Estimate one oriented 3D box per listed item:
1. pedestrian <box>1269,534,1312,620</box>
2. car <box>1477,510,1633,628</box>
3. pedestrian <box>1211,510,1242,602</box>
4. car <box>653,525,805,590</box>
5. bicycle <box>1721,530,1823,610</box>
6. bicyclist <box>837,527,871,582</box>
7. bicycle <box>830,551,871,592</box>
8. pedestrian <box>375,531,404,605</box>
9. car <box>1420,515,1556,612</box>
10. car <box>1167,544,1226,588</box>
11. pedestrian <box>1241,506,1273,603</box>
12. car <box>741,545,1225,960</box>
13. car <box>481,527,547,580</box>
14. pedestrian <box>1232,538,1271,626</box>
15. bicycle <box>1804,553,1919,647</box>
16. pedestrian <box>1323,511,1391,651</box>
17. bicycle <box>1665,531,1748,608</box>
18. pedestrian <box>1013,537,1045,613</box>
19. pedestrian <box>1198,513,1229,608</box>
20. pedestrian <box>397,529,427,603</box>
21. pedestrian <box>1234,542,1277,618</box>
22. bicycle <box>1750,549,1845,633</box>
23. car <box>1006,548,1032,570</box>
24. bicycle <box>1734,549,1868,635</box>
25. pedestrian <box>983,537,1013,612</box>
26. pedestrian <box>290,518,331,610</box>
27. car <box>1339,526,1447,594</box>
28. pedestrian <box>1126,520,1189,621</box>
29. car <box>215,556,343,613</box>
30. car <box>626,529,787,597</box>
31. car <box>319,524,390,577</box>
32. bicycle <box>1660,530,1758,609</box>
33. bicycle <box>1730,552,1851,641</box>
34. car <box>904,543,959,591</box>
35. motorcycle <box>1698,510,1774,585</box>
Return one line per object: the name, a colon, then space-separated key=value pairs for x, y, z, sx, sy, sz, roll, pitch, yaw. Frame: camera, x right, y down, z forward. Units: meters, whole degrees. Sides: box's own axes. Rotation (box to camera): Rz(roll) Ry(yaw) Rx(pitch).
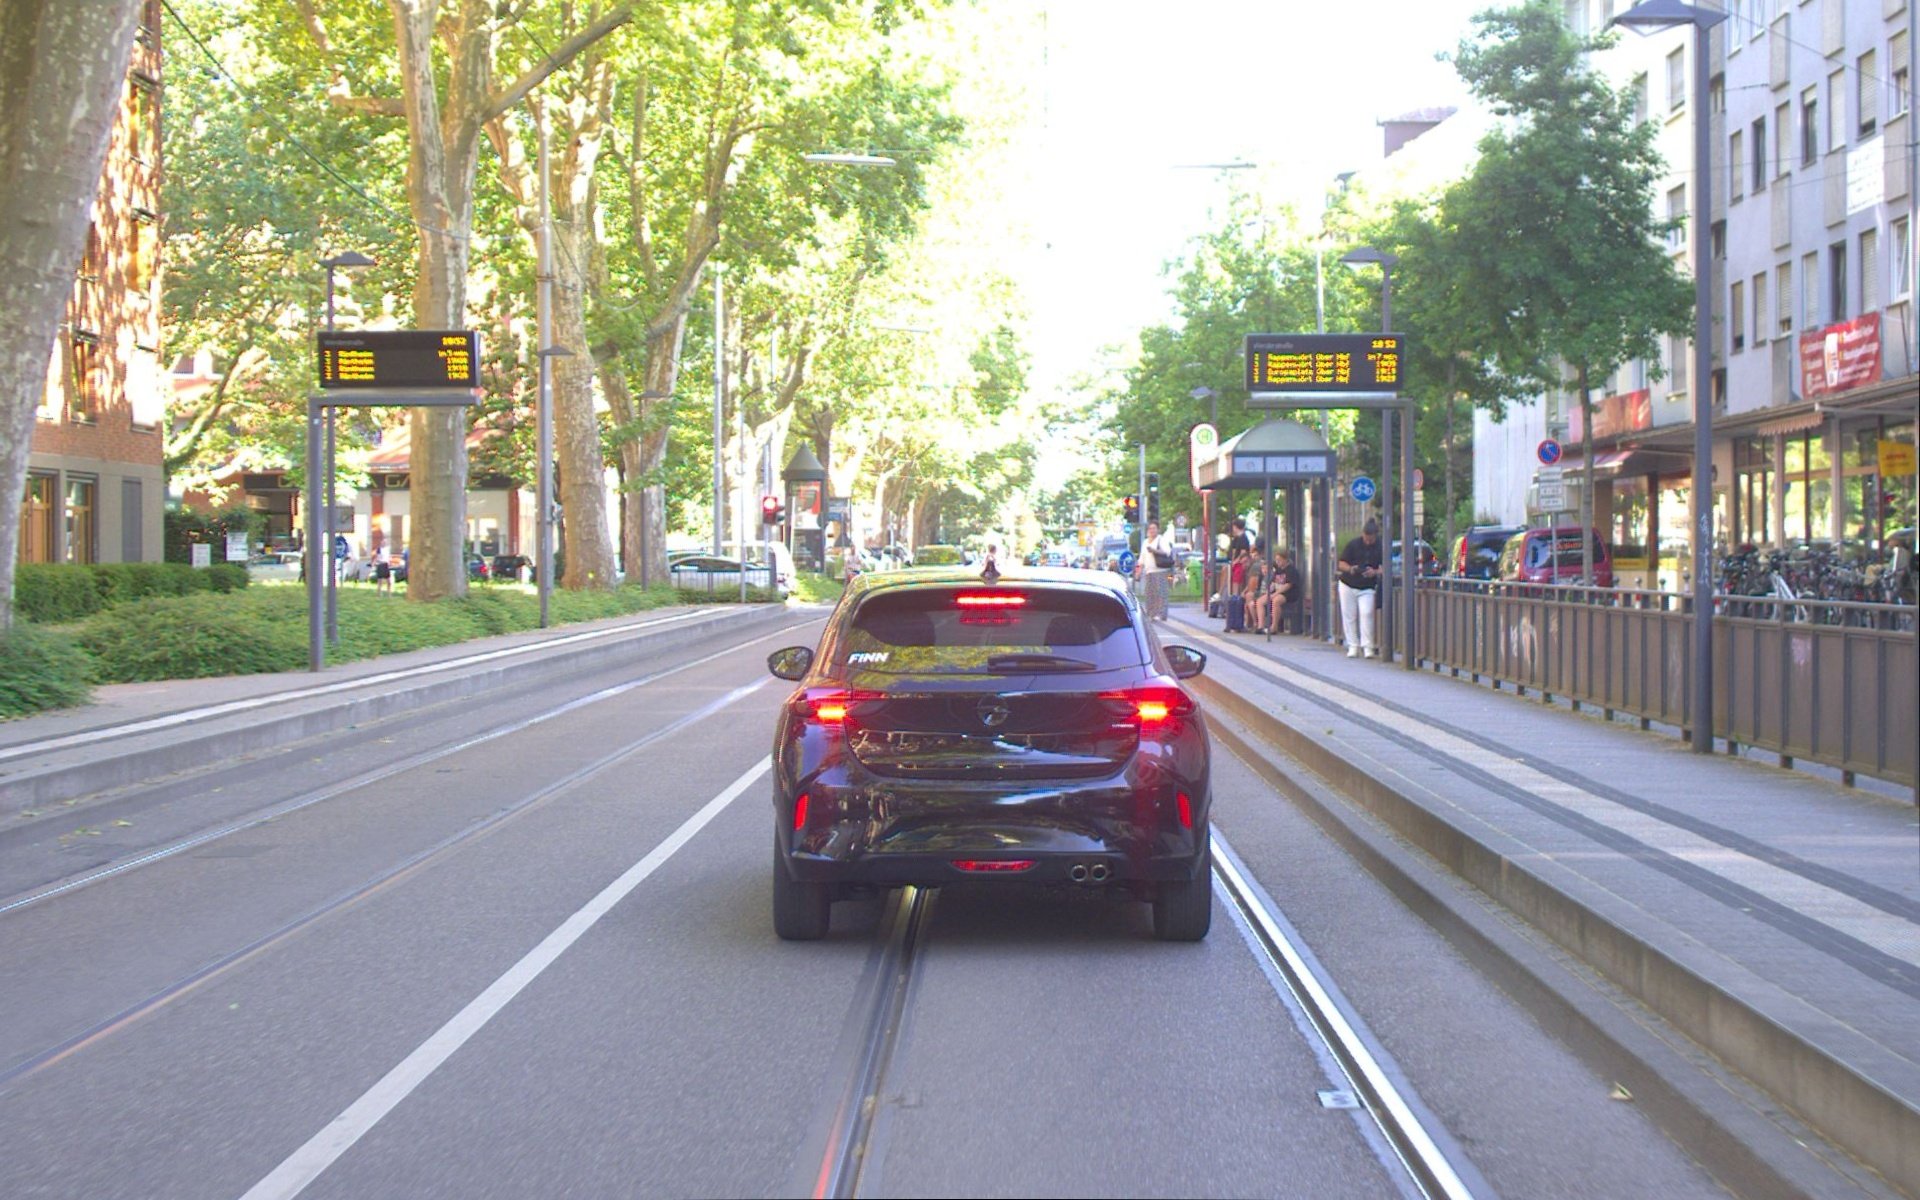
pedestrian: x=4.807 y=-0.335 z=49.964 sx=0.534 sy=1.226 sz=0.510 roll=1 pitch=0 yaw=-3
car: x=10.289 y=-0.538 z=59.700 sx=1.993 sy=1.946 sz=4.000 roll=1 pitch=0 yaw=0
pedestrian: x=4.966 y=-0.820 z=64.118 sx=0.531 sy=1.703 sz=0.596 roll=1 pitch=0 yaw=3
car: x=-6.827 y=-1.254 z=101.319 sx=4.384 sy=1.845 sz=2.000 roll=1 pitch=0 yaw=-6
bicycle: x=11.751 y=-0.433 z=49.799 sx=0.597 sy=1.132 sz=2.204 roll=1 pitch=0 yaw=-10
bicyclist: x=-3.279 y=-1.412 z=106.504 sx=0.941 sy=1.697 sz=1.153 roll=1 pitch=0 yaw=4
bicycle: x=-3.349 y=-0.875 z=105.607 sx=0.955 sy=1.236 sz=2.977 roll=1 pitch=0 yaw=4
pedestrian: x=-15.235 y=-0.847 z=91.791 sx=0.672 sy=1.943 sz=0.498 roll=2 pitch=1 yaw=-2
car: x=10.145 y=-0.697 z=66.336 sx=1.993 sy=1.791 sz=4.000 roll=1 pitch=0 yaw=0
car: x=8.939 y=-1.277 z=130.357 sx=1.993 sy=1.627 sz=4.000 roll=1 pitch=0 yaw=1
pedestrian: x=5.457 y=-0.836 z=63.192 sx=0.531 sy=1.757 sz=0.661 roll=1 pitch=0 yaw=3
car: x=0.045 y=0.541 z=14.432 sx=1.759 sy=1.503 sz=3.683 roll=-1 pitch=0 yaw=-1
car: x=-17.410 y=-1.806 z=134.272 sx=1.993 sy=2.007 sz=4.000 roll=1 pitch=0 yaw=1
pedestrian: x=4.342 y=-0.272 z=51.158 sx=0.502 sy=1.300 sz=0.429 roll=1 pitch=0 yaw=-3
bicycle: x=11.350 y=-0.016 z=42.924 sx=0.621 sy=1.132 sz=2.440 roll=1 pitch=0 yaw=-10
pedestrian: x=4.539 y=-0.224 z=39.378 sx=0.631 sy=1.571 sz=0.870 roll=2 pitch=1 yaw=1
bicycle: x=11.318 y=-0.459 z=52.177 sx=0.597 sy=1.132 sz=2.204 roll=1 pitch=0 yaw=-5
pedestrian: x=1.857 y=-0.681 z=93.057 sx=0.676 sy=2.007 sz=0.701 roll=2 pitch=1 yaw=13
pedestrian: x=4.609 y=-0.722 z=62.452 sx=0.531 sy=1.703 sz=0.752 roll=1 pitch=0 yaw=3
pedestrian: x=-14.508 y=-0.907 z=90.962 sx=0.672 sy=1.943 sz=0.498 roll=2 pitch=1 yaw=-2
pedestrian: x=4.342 y=-0.297 z=50.552 sx=0.534 sy=1.096 sz=0.551 roll=1 pitch=0 yaw=-3
bicycle: x=11.677 y=-0.134 z=47.987 sx=0.410 sy=1.132 sz=2.204 roll=1 pitch=0 yaw=-10
car: x=4.305 y=-3.009 z=252.567 sx=1.745 sy=1.539 sz=4.000 roll=1 pitch=0 yaw=-1
bicycle: x=11.373 y=-0.121 z=46.612 sx=0.611 sy=1.132 sz=2.922 roll=1 pitch=0 yaw=-10
pedestrian: x=1.034 y=-0.700 z=93.204 sx=0.675 sy=2.007 sz=0.701 roll=2 pitch=1 yaw=7
pedestrian: x=-13.902 y=-0.776 z=73.565 sx=0.673 sy=1.943 sz=0.497 roll=3 pitch=1 yaw=38
car: x=9.871 y=-0.914 z=78.618 sx=1.993 sy=1.481 sz=4.000 roll=1 pitch=0 yaw=1
pedestrian: x=3.362 y=-0.503 z=58.450 sx=0.751 sy=1.703 sz=0.762 roll=1 pitch=0 yaw=36
car: x=-24.986 y=-0.566 z=126.226 sx=4.250 sy=2.007 sz=2.000 roll=1 pitch=0 yaw=1
car: x=-6.649 y=-0.963 z=89.951 sx=4.113 sy=1.695 sz=1.884 roll=1 pitch=0 yaw=-6
car: x=-23.583 y=-1.916 z=134.007 sx=1.993 sy=2.007 sz=4.000 roll=1 pitch=0 yaw=1
bicycle: x=11.056 y=-0.451 z=50.825 sx=0.597 sy=1.132 sz=2.204 roll=1 pitch=0 yaw=-10
bicycle: x=10.939 y=-0.060 z=45.384 sx=0.602 sy=1.132 sz=2.435 roll=1 pitch=0 yaw=-10
car: x=-0.954 y=-1.085 z=113.919 sx=1.745 sy=1.539 sz=4.000 roll=1 pitch=0 yaw=-1
motorcycle: x=13.590 y=-0.916 z=60.253 sx=0.892 sy=1.276 sz=2.043 roll=1 pitch=0 yaw=1
